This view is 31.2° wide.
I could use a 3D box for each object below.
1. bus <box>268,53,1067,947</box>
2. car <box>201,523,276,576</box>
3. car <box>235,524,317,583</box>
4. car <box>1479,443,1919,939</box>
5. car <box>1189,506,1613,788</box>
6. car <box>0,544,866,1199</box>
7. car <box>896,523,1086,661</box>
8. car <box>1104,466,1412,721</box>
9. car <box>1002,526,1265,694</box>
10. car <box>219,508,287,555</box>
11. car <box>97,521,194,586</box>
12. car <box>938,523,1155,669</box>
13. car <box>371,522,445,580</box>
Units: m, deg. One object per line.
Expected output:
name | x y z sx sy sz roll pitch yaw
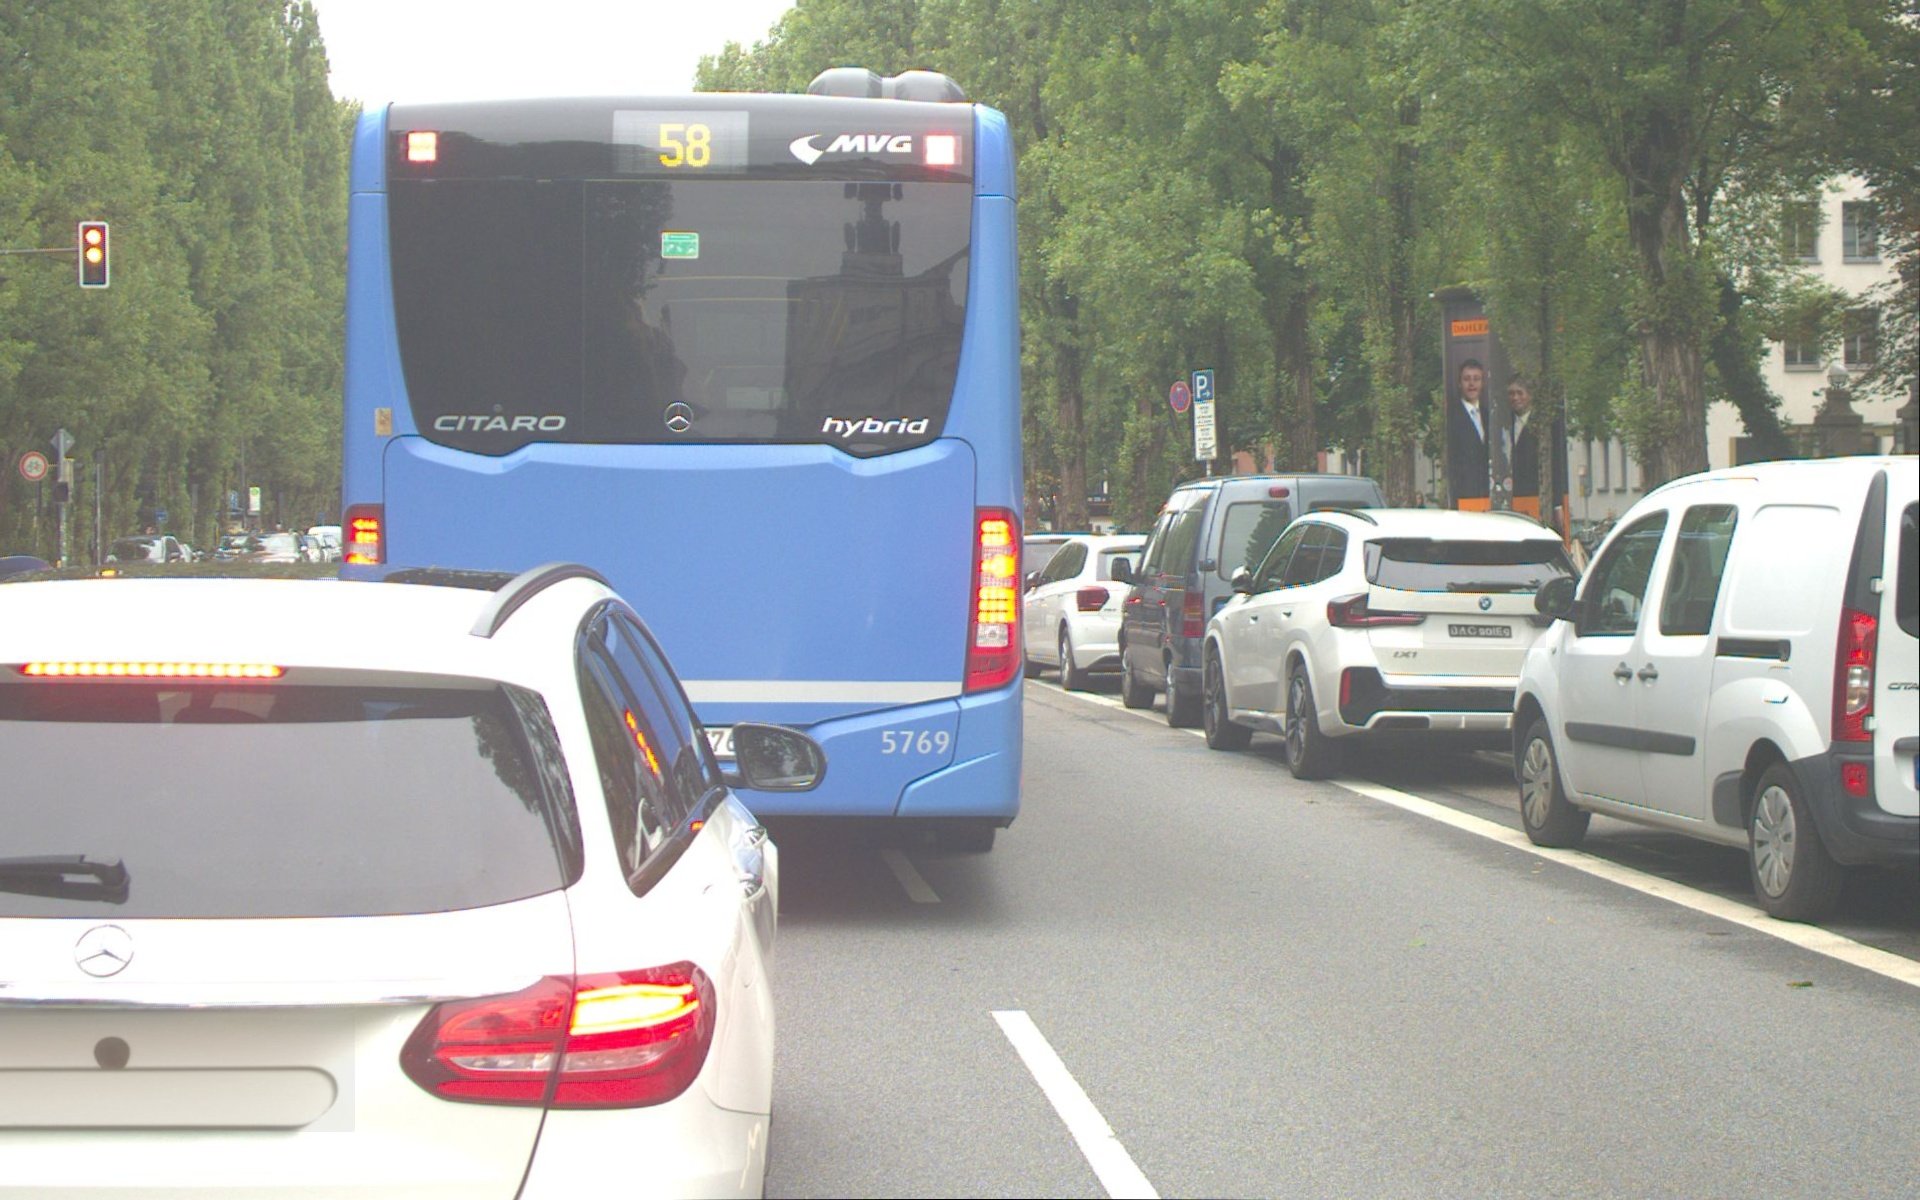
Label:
bus | -1.059 -0.477 16.894 2.855 3.202 9.060 0 2 0
car | -21.325 -1.512 101.712 1.821 1.481 4.001 -1 2 -7
car | -18.107 -1.254 91.157 1.821 1.481 4.001 -1 2 -7
car | 3.699 0.294 14.472 1.832 1.767 4.231 1 1 -8
car | 2.646 0.217 21.567 1.677 1.590 4.088 1 1 -7
car | -1.211 0.630 6.642 1.825 1.449 4.583 0 1 -4
car | 0.337 -0.146 43.309 1.808 1.612 4.001 -1 2 -8
car | 2.237 -0.093 26.804 1.703 1.829 4.001 0 1 -5
car | 1.600 0.043 33.079 1.798 1.470 4.001 -1 2 -8
car | -22.970 -2.229 111.774 1.821 1.481 4.001 -1 2 -7
car | -19.520 -1.129 82.543 1.821 1.481 4.001 -1 2 -7
car | 0.901 -0.087 38.175 1.785 1.486 4.001 -1 2 -8
car | -16.211 -1.457 101.106 1.993 1.613 4.001 -1 1 -7
